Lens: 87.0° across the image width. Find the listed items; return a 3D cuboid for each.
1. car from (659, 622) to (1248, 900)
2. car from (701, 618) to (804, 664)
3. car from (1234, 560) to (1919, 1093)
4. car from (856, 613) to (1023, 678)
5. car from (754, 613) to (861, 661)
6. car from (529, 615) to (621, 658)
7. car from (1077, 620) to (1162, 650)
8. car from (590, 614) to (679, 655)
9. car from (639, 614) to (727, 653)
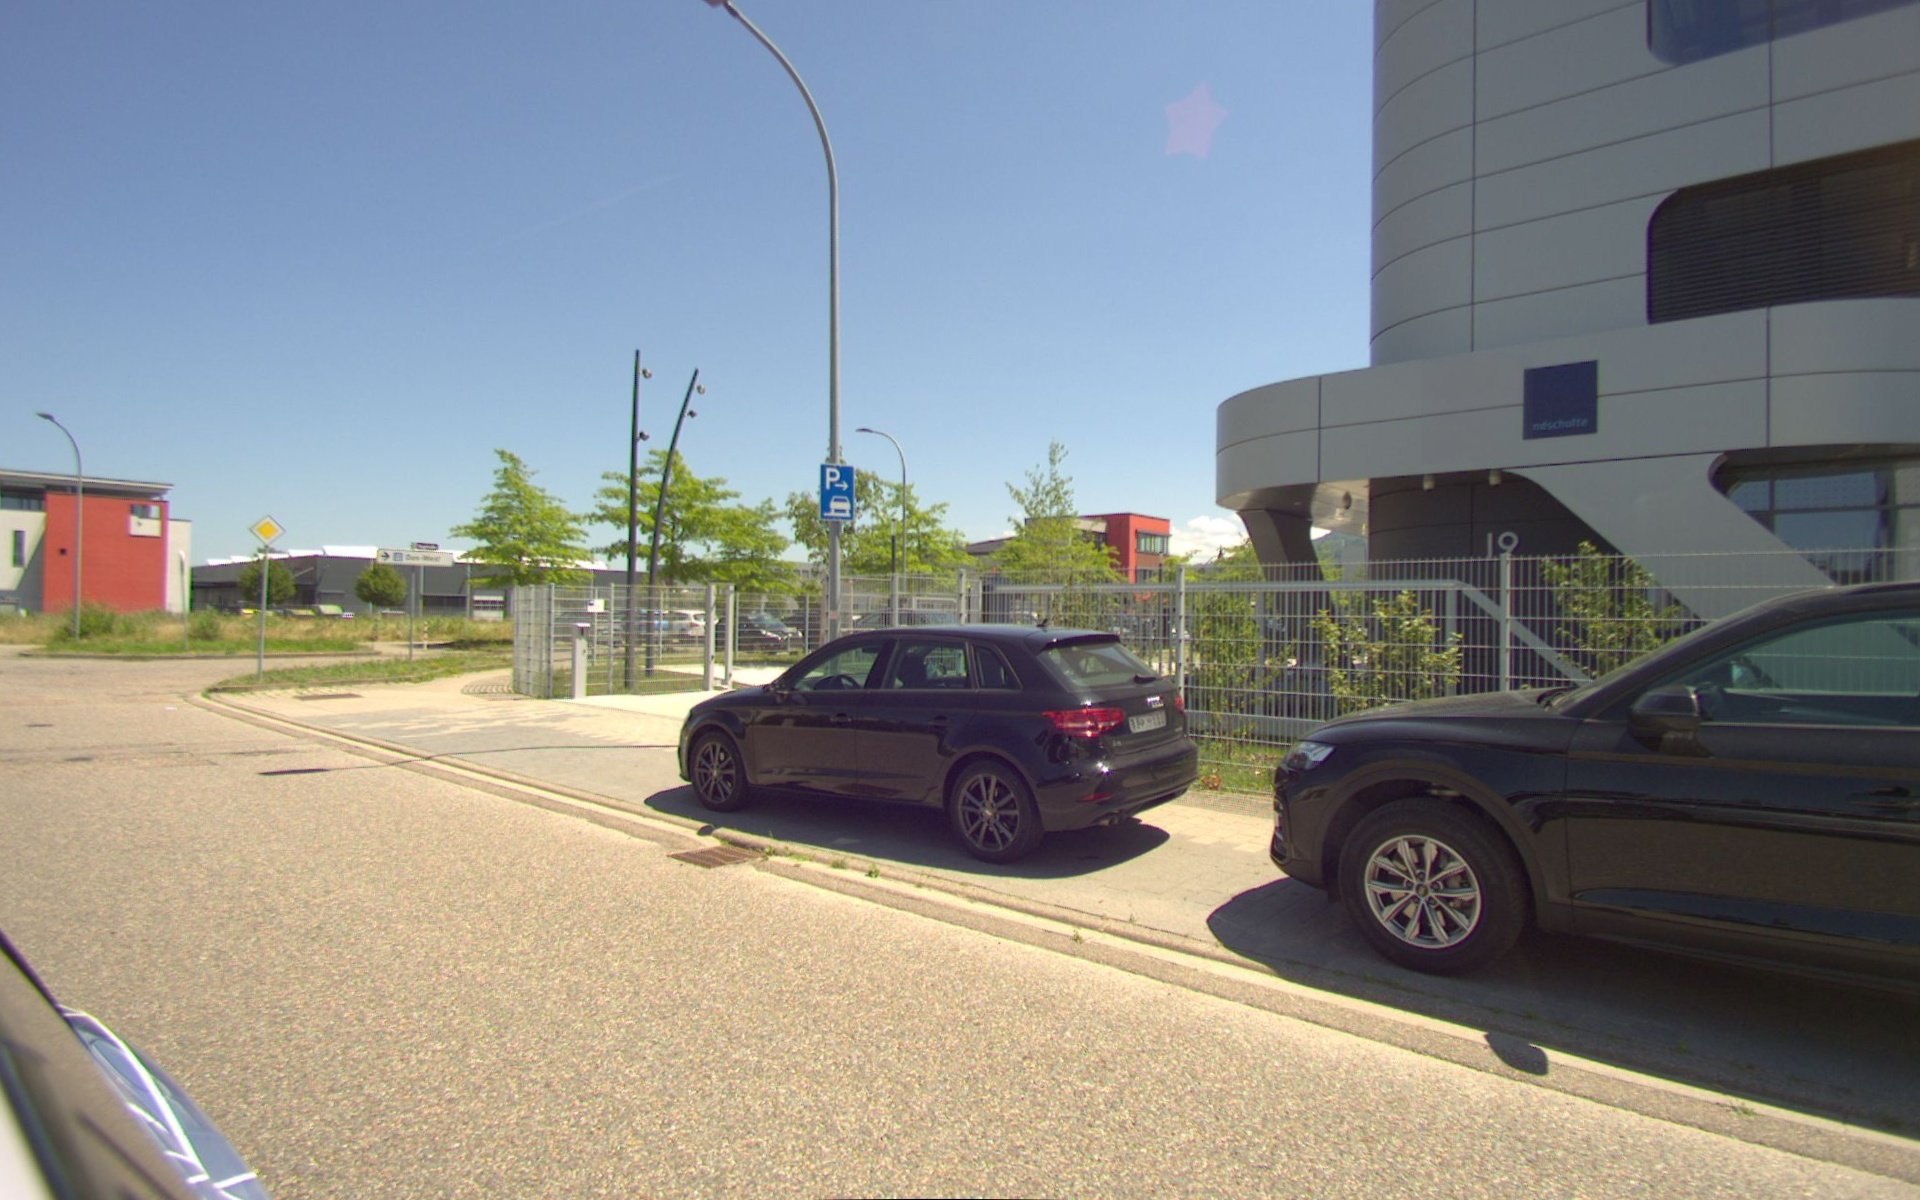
[{"bbox_3d":[-0.237,0.919,7.426,4.181,1.477,1.752,-2,-2,39],"label":"car"},{"bbox_3d":[-7.139,1.403,34.568,3.799,1.487,1.588,-3,-3,44],"label":"car"},{"bbox_3d":[3.662,0.719,3.758,4.850,1.664,1.750,-2,-2,43],"label":"car"},{"bbox_3d":[-0.568,1.102,25.541,4.103,1.523,1.752,-1,-2,41],"label":"car"},{"bbox_3d":[-5.573,1.360,36.634,4.254,1.633,1.588,-3,-3,44],"label":"car"},{"bbox_3d":[-16.113,1.471,42.248,4.309,1.710,1.931,-1,-1,43],"label":"car"},{"bbox_3d":[8.109,1.809,51.683,4.114,1.487,1.589,-3,-3,41],"label":"car"},{"bbox_3d":[-14.456,1.480,44.873,4.309,1.710,1.931,-1,-1,43],"label":"car"},{"bbox_3d":[-12.795,1.504,46.591,4.309,1.710,1.931,-1,-1,43],"label":"car"}]
